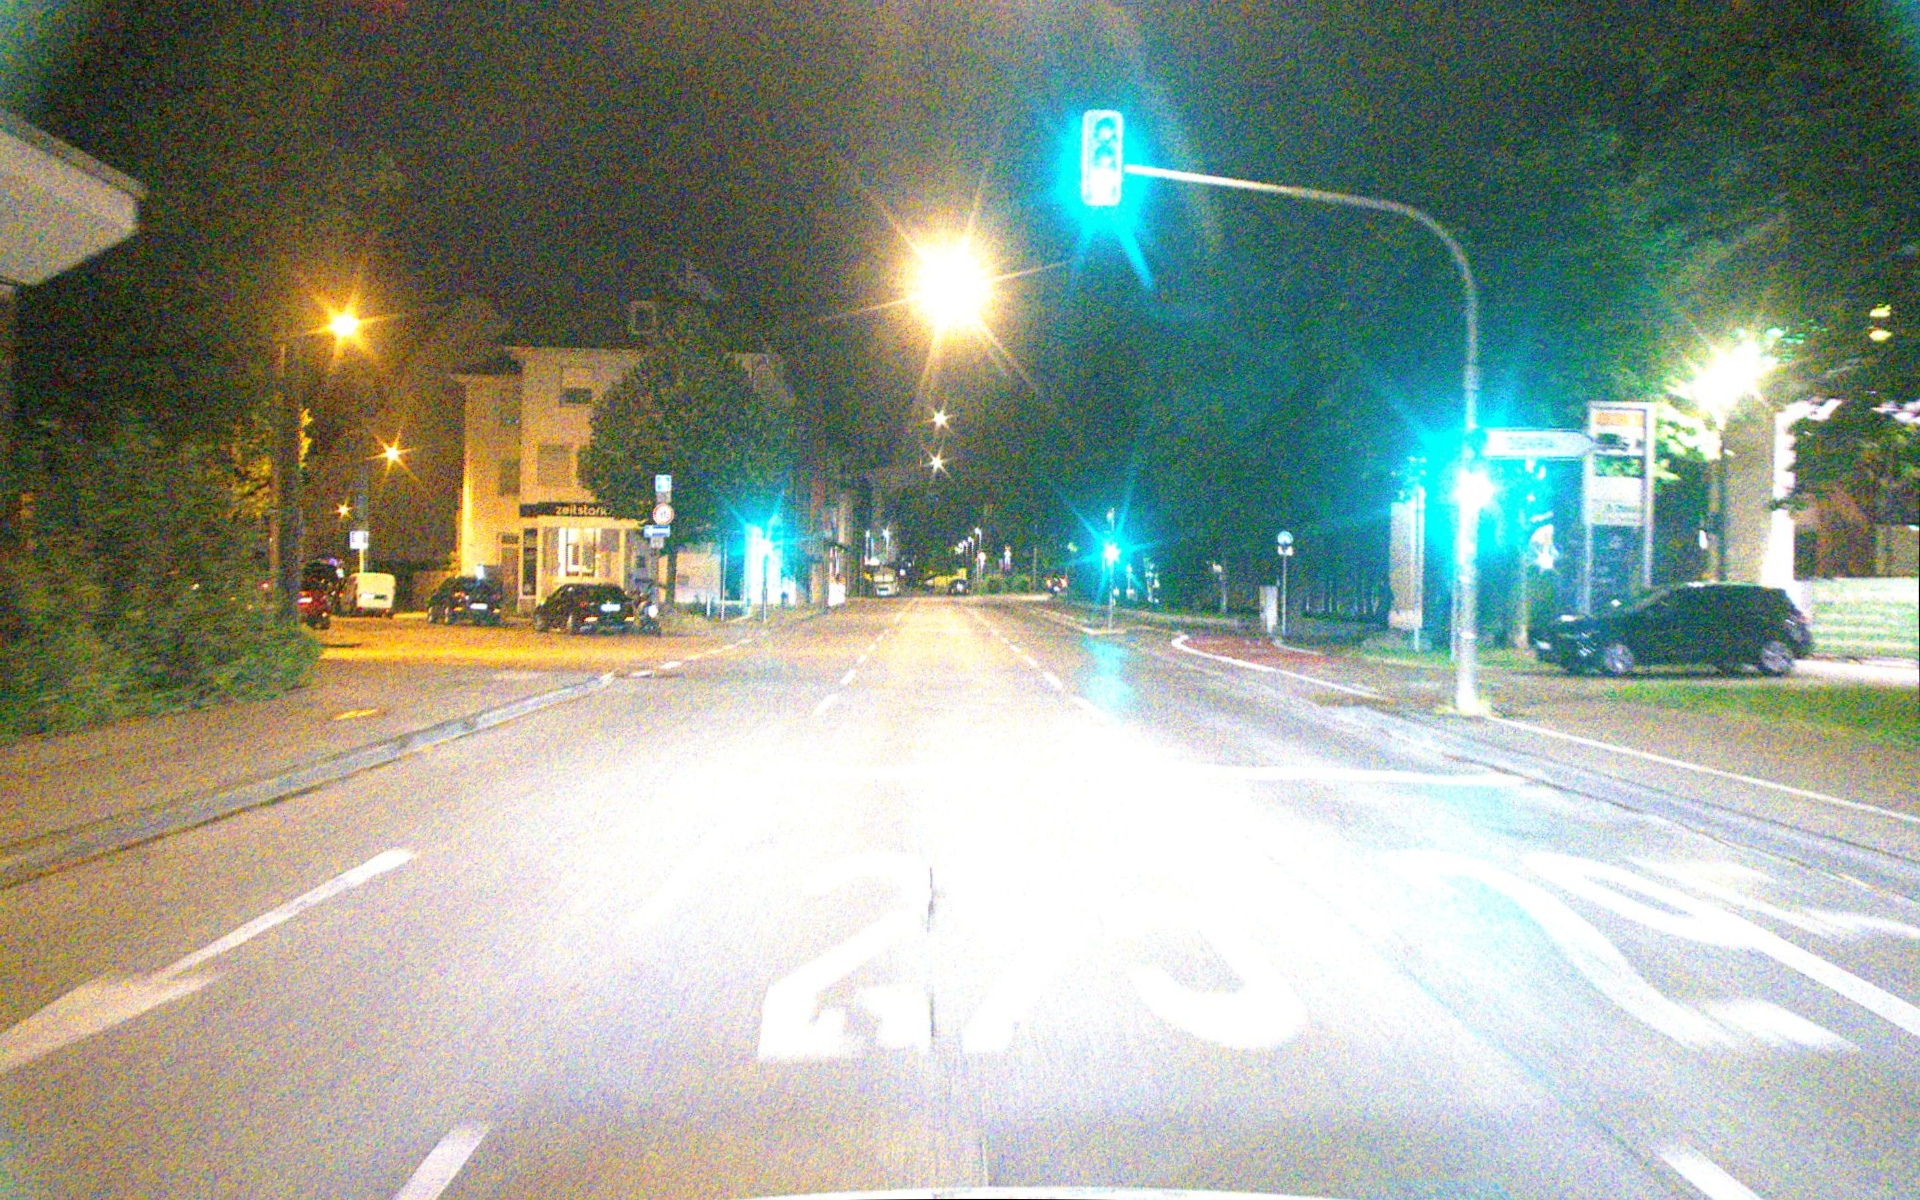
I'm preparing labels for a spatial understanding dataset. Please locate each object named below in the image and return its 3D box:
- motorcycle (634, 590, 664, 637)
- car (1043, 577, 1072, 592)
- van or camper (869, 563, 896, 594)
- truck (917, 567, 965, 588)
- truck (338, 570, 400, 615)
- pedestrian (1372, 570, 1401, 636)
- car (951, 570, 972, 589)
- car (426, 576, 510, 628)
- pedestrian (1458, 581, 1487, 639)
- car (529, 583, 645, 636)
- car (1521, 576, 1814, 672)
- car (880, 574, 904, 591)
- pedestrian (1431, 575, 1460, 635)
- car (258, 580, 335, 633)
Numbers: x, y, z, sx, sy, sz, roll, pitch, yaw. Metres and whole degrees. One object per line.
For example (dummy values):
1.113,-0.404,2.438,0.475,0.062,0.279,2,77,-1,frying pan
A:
-8.453,0.354,44.946,0.563,1.200,2.022,0,1,-18,motorcycle
9.142,-1.437,154.762,1.629,1.366,3.625,0,1,23,car
-6.717,-1.874,143.274,2.115,2.580,6.225,-2,1,-2,van or camper
-2.663,-3.120,231.430,6.642,2.894,1.999,1,1,-4,truck
-25.226,-0.320,70.530,1.869,1.839,4.074,0,0,-29,truck
11.935,0.078,46.284,0.609,1.843,0.759,0,1,-1,pedestrian
0.113,-1.890,153.883,1.845,1.631,4.108,-1,0,1,car
-16.942,0.048,56.862,1.893,1.673,4.072,3,-1,-29,car
13.871,0.254,44.764,0.561,1.560,0.633,0,1,-1,pedestrian
-10.963,0.235,48.349,1.869,1.449,4.677,-1,1,-32,car
11.421,0.370,26.868,3.999,1.480,1.786,0,0,-2,car
-6.349,-1.603,154.220,1.804,1.533,4.734,-1,1,-8,car
13.445,0.129,45.796,0.608,1.667,0.679,0,1,-1,pedestrian
-22.059,0.196,54.921,1.817,1.641,4.218,-2,1,-29,car
